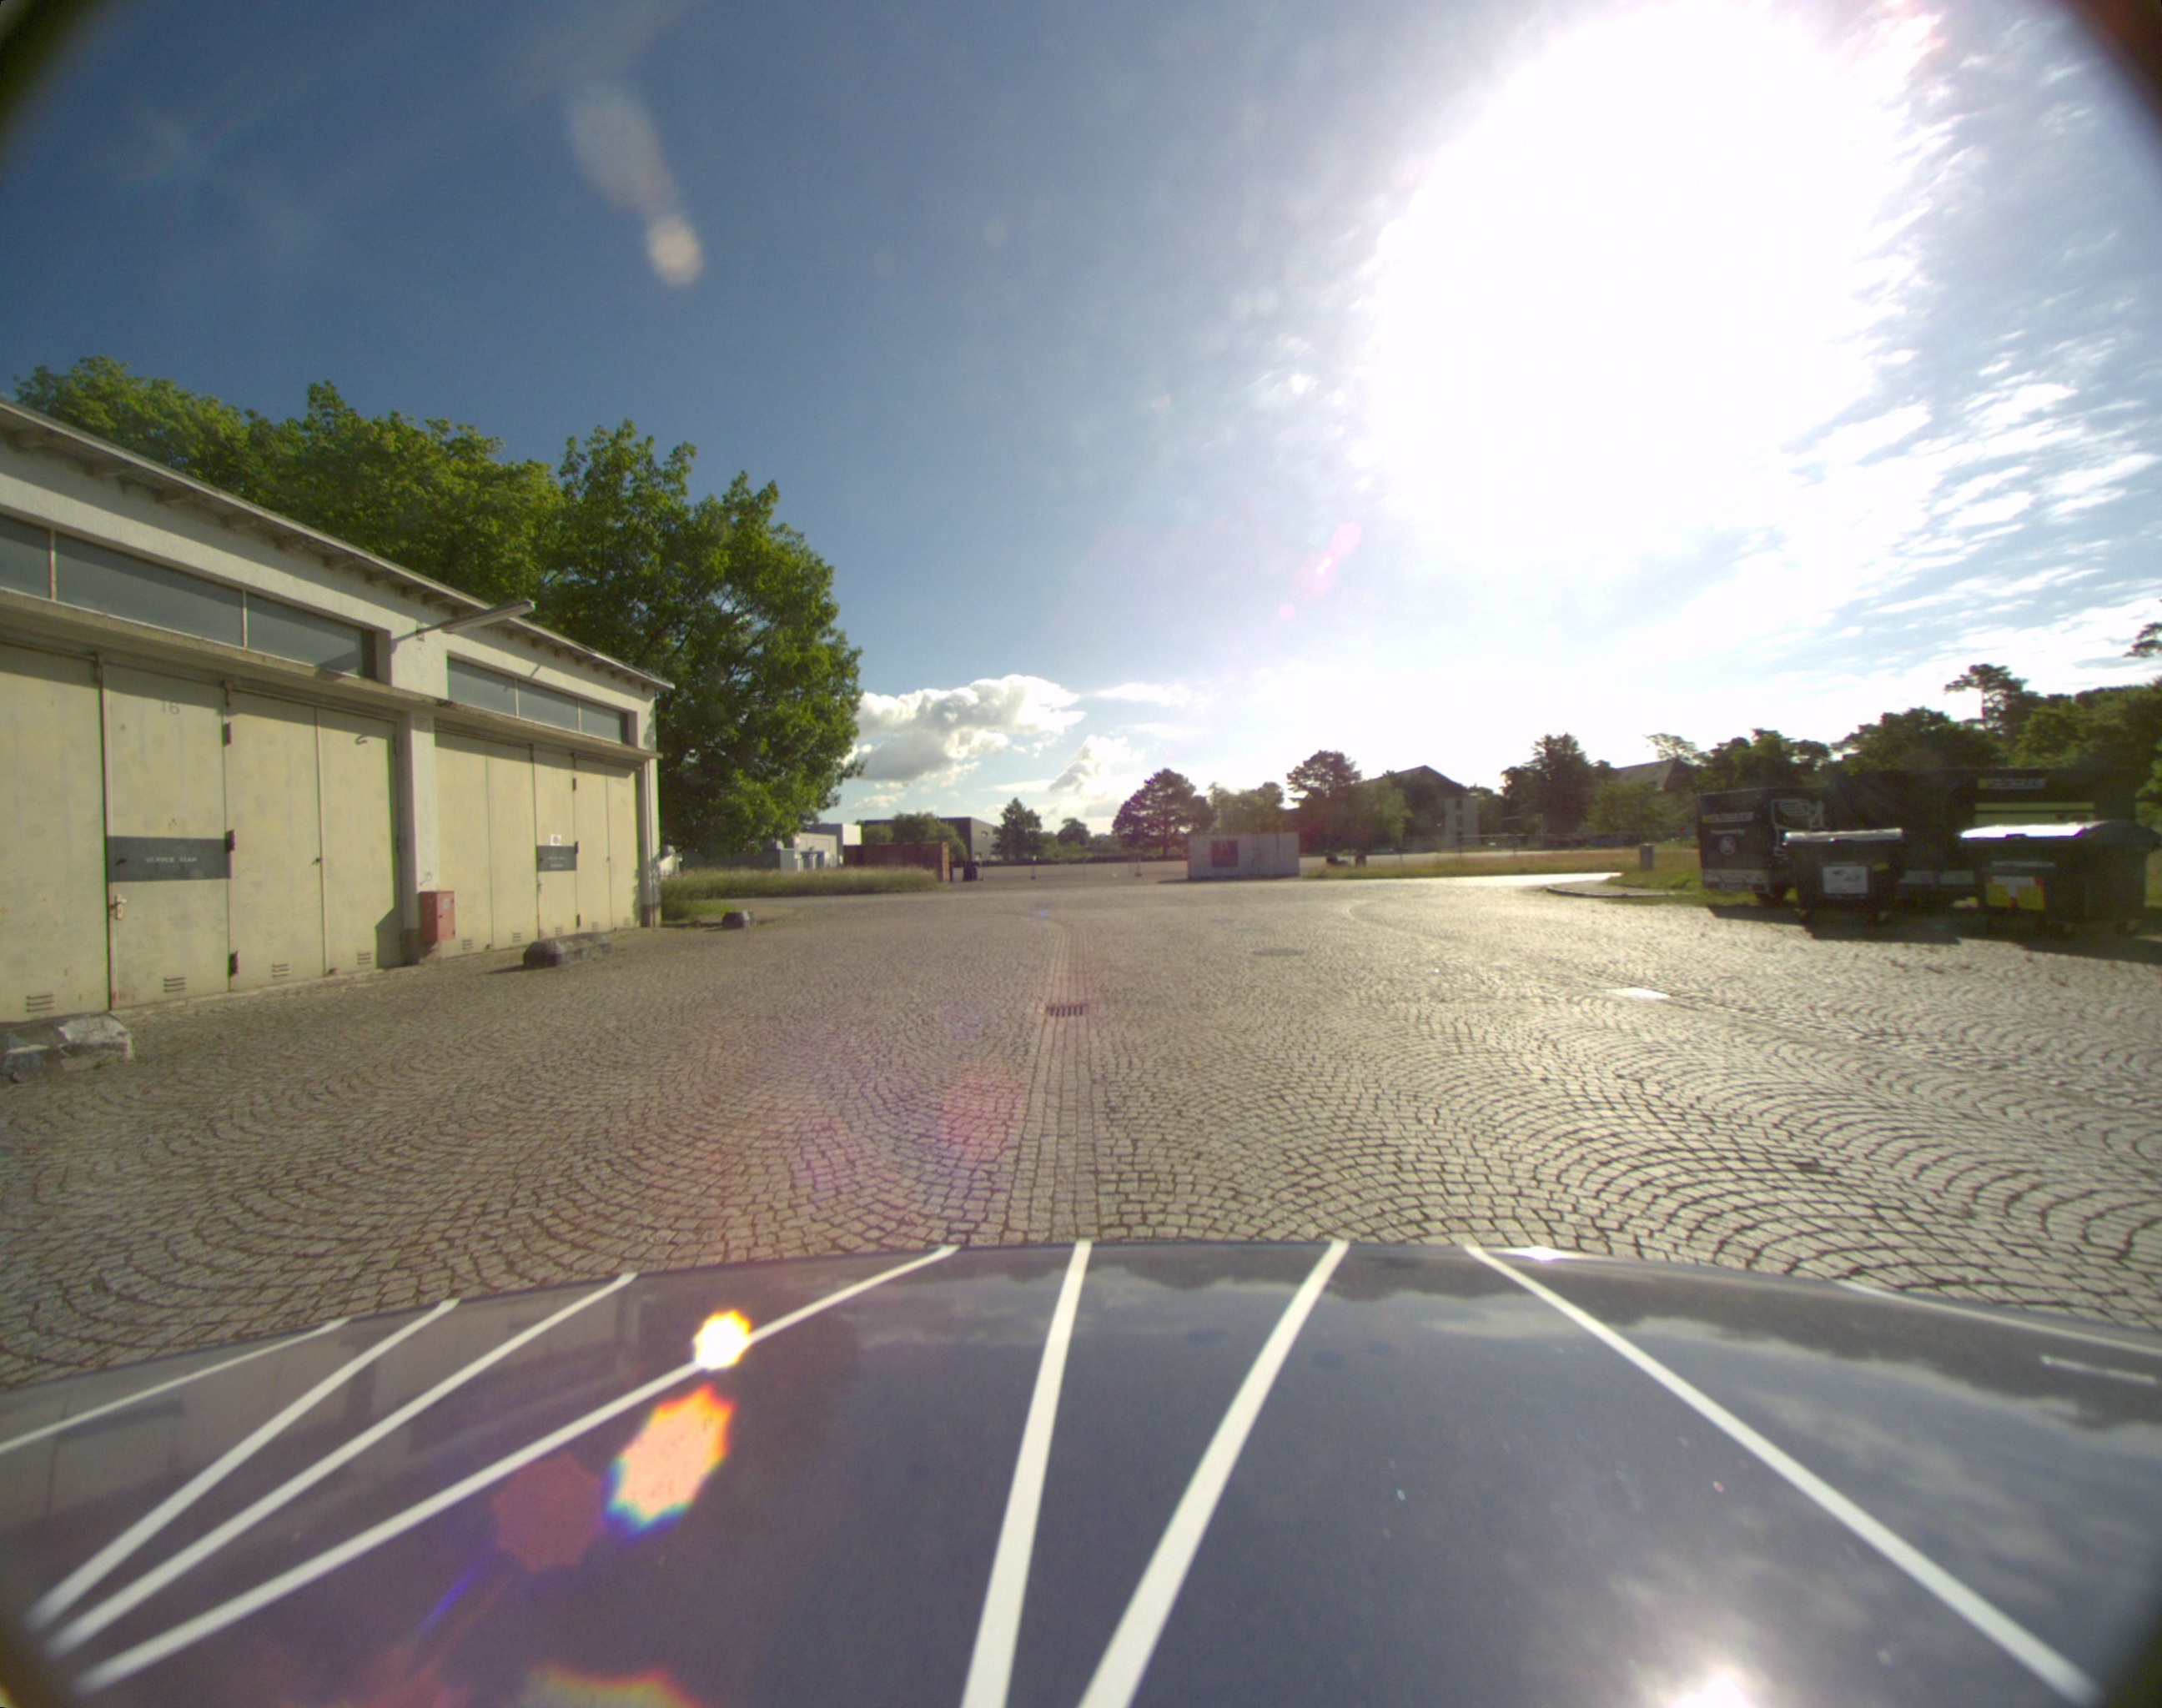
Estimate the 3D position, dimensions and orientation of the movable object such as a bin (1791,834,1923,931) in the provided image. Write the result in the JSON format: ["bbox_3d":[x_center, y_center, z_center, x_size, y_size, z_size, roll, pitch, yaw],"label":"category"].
[{"bbox_3d":[11.902,0.405,11.680,1.049,1.378,1.361,-3,1,-43],"label":"movable object such as a bin"}]

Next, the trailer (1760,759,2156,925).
[{"bbox_3d":[14.732,-0.219,12.915,4.854,2.377,1.942,-3,1,-6],"label":"trailer"}]

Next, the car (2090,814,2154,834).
[{"bbox_3d":[102.002,-2.904,74.498,3.999,1.805,1.999,-2,1,-7],"label":"car"}]

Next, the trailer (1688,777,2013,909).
[{"bbox_3d":[15.278,-0.210,15.296,4.465,2.260,2.014,-3,1,0],"label":"trailer"}]

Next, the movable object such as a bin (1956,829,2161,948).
[{"bbox_3d":[12.395,0.399,9.611,1.083,1.378,1.369,-2,1,3],"label":"movable object such as a bin"}]
